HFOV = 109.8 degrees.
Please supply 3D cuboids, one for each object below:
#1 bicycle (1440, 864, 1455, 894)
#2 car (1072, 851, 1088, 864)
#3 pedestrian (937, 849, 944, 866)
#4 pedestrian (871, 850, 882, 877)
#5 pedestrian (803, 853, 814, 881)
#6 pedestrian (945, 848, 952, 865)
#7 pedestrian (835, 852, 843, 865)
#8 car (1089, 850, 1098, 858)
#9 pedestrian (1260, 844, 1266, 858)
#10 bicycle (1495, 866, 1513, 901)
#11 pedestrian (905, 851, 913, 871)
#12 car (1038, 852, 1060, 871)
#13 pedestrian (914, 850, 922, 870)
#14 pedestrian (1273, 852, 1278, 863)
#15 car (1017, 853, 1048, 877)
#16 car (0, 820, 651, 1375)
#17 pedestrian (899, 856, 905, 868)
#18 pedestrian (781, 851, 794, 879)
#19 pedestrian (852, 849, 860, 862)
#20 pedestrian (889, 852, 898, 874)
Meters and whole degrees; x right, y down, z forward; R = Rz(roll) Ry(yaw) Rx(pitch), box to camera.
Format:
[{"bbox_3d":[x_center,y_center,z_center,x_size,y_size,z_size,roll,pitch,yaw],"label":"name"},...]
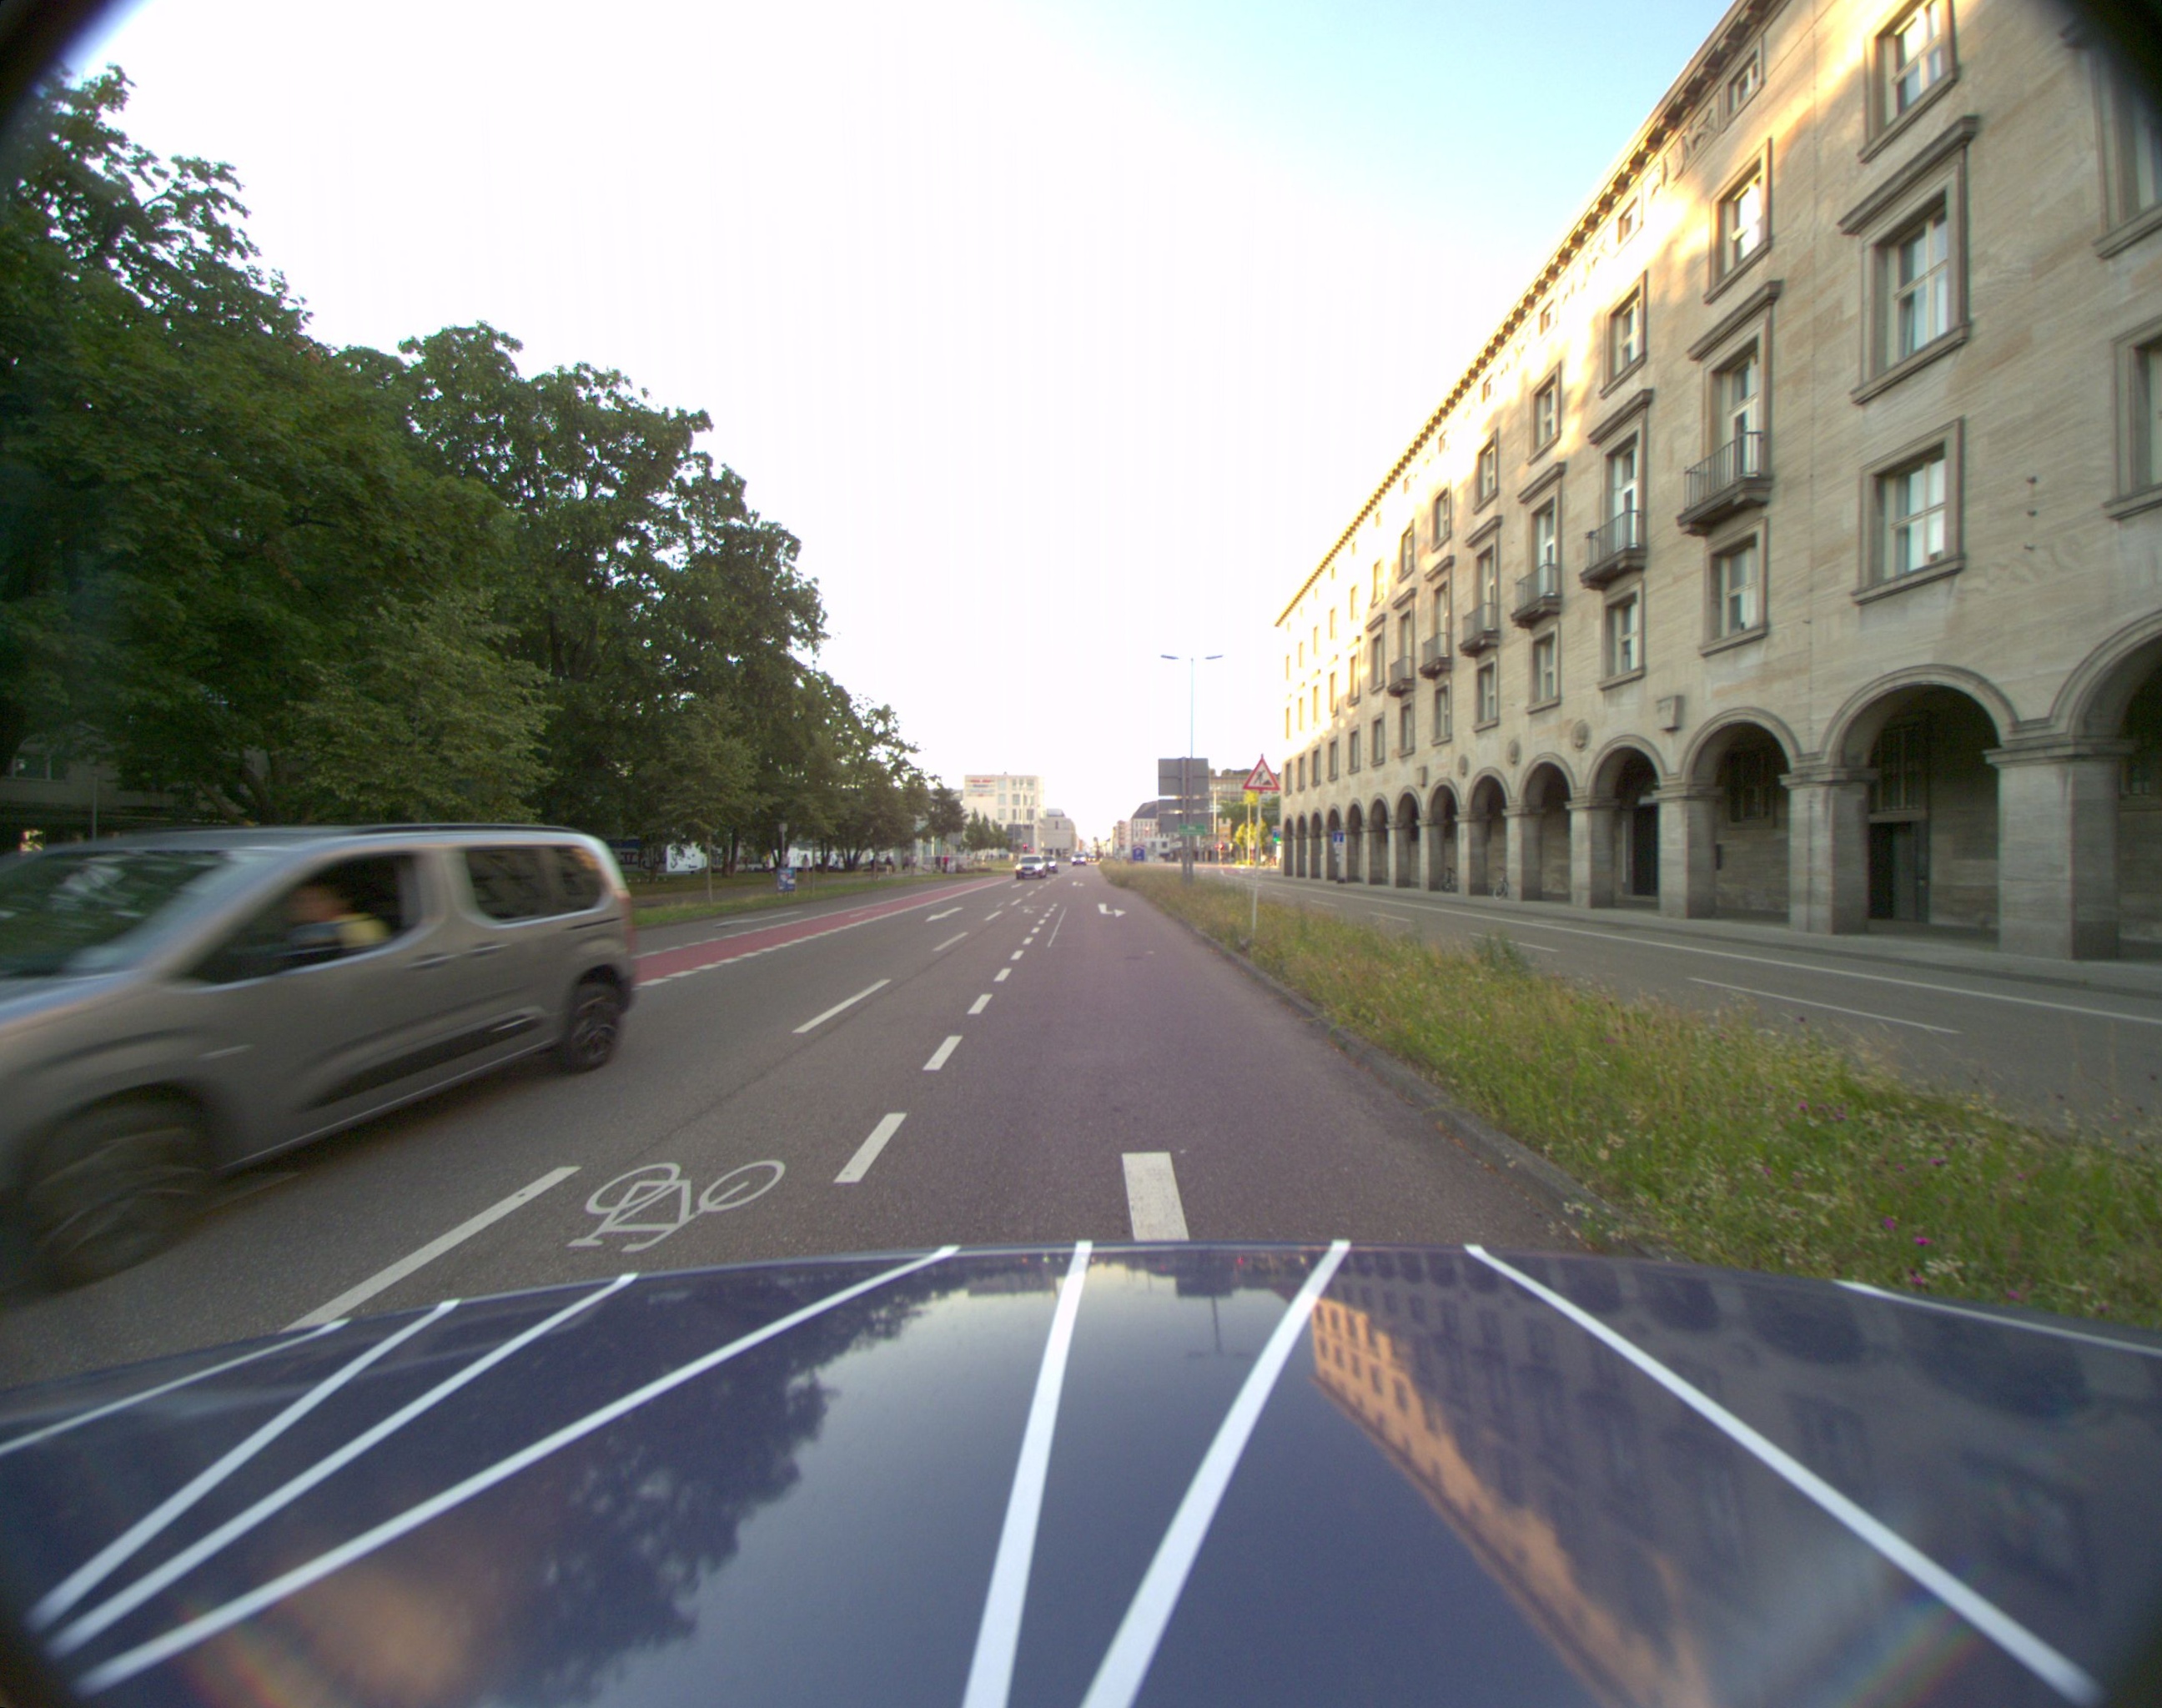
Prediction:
[{"bbox_3d":[15.504,1.028,32.136,0.513,1.172,2.427,0,0,25],"label":"bicycle"},{"bbox_3d":[-0.144,0.474,103.700,1.781,1.676,4.217,0,0,6],"label":"car"},{"bbox_3d":[-14.552,0.315,78.722,0.638,1.747,0.506,0,1,1],"label":"pedestrian"},{"bbox_3d":[-13.344,0.599,49.649,0.558,1.729,0.555,0,1,1],"label":"pedestrian"},{"bbox_3d":[-15.584,0.729,43.478,0.500,1.592,0.365,0,1,1],"label":"pedestrian"},{"bbox_3d":[-13.695,0.302,78.596,0.638,1.747,0.506,0,1,1],"label":"pedestrian"},{"bbox_3d":[-25.364,0.482,79.691,0.631,1.347,0.681,0,1,1],"label":"pedestrian"},{"bbox_3d":[3.772,0.078,224.121,1.997,2.297,5.092,0,0,7],"label":"car"},{"bbox_3d":[23.864,-0.369,99.518,0.638,1.747,0.506,0,1,1],"label":"pedestrian"},{"bbox_3d":[15.375,1.048,27.583,0.513,1.115,2.427,0,1,30],"label":"bicycle"},{"bbox_3d":[-15.003,0.600,66.347,0.519,1.720,0.719,0,1,1],"label":"pedestrian"},{"bbox_3d":[-2.848,0.628,68.303,1.782,1.617,4.215,-1,0,1],"label":"car"},{"bbox_3d":[-14.202,0.535,66.166,0.509,1.720,0.719,0,1,1],"label":"pedestrian"},{"bbox_3d":[25.490,0.465,99.456,0.526,1.532,0.390,0,1,1],"label":"pedestrian"},{"bbox_3d":[-3.391,0.737,53.622,1.826,1.612,4.336,-2,0,0],"label":"car"},{"bbox_3d":[-4.540,0.842,4.108,1.767,1.877,4.500,-2,0,1],"label":"car"},{"bbox_3d":[-19.745,0.874,83.759,0.509,1.347,0.435,0,1,1],"label":"pedestrian"},{"bbox_3d":[-16.496,0.619,42.711,0.500,1.592,0.522,0,1,1],"label":"pedestrian"},{"bbox_3d":[-23.871,0.190,80.698,0.662,1.347,0.559,0,1,1],"label":"pedestrian"},{"bbox_3d":[-14.801,0.685,59.989,0.509,1.720,0.719,0,1,1],"label":"pedestrian"}]
